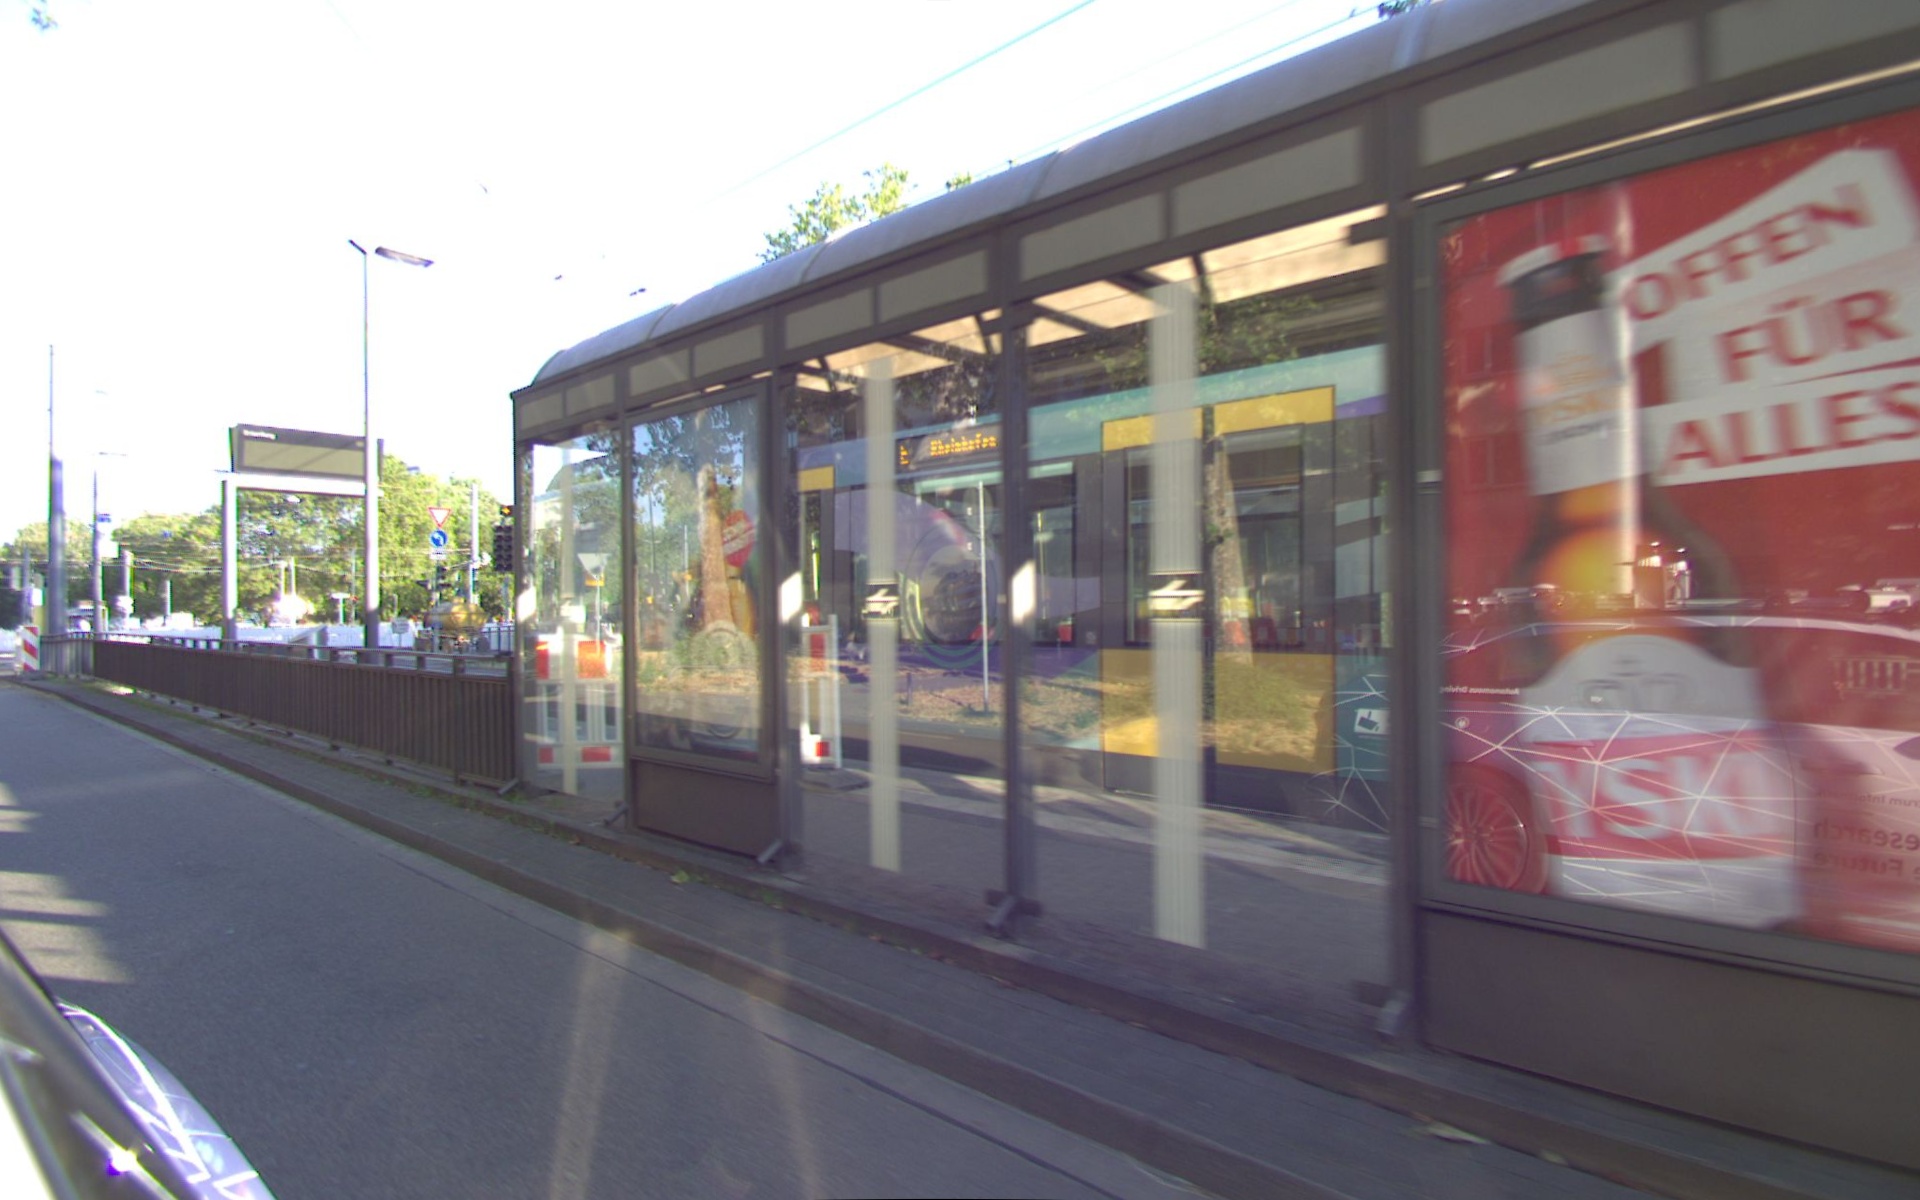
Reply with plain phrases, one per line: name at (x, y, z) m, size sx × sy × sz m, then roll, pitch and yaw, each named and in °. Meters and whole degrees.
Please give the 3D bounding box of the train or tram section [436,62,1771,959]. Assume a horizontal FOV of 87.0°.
train or tram section at (-0.989, -0.251, 9.637) m, size 13.396 × 3.560 × 2.818 m, roll -1°, pitch -1°, yaw 43°

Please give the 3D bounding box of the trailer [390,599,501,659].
trailer at (-19.372, 1.064, 38.033) m, size 4.337 × 2.131 × 1.976 m, roll -1°, pitch -1°, yaw 36°

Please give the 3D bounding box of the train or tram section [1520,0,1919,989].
train or tram section at (8.086, -0.471, 1.113) m, size 12.785 × 3.576 × 2.699 m, roll -1°, pitch -1°, yaw 43°
